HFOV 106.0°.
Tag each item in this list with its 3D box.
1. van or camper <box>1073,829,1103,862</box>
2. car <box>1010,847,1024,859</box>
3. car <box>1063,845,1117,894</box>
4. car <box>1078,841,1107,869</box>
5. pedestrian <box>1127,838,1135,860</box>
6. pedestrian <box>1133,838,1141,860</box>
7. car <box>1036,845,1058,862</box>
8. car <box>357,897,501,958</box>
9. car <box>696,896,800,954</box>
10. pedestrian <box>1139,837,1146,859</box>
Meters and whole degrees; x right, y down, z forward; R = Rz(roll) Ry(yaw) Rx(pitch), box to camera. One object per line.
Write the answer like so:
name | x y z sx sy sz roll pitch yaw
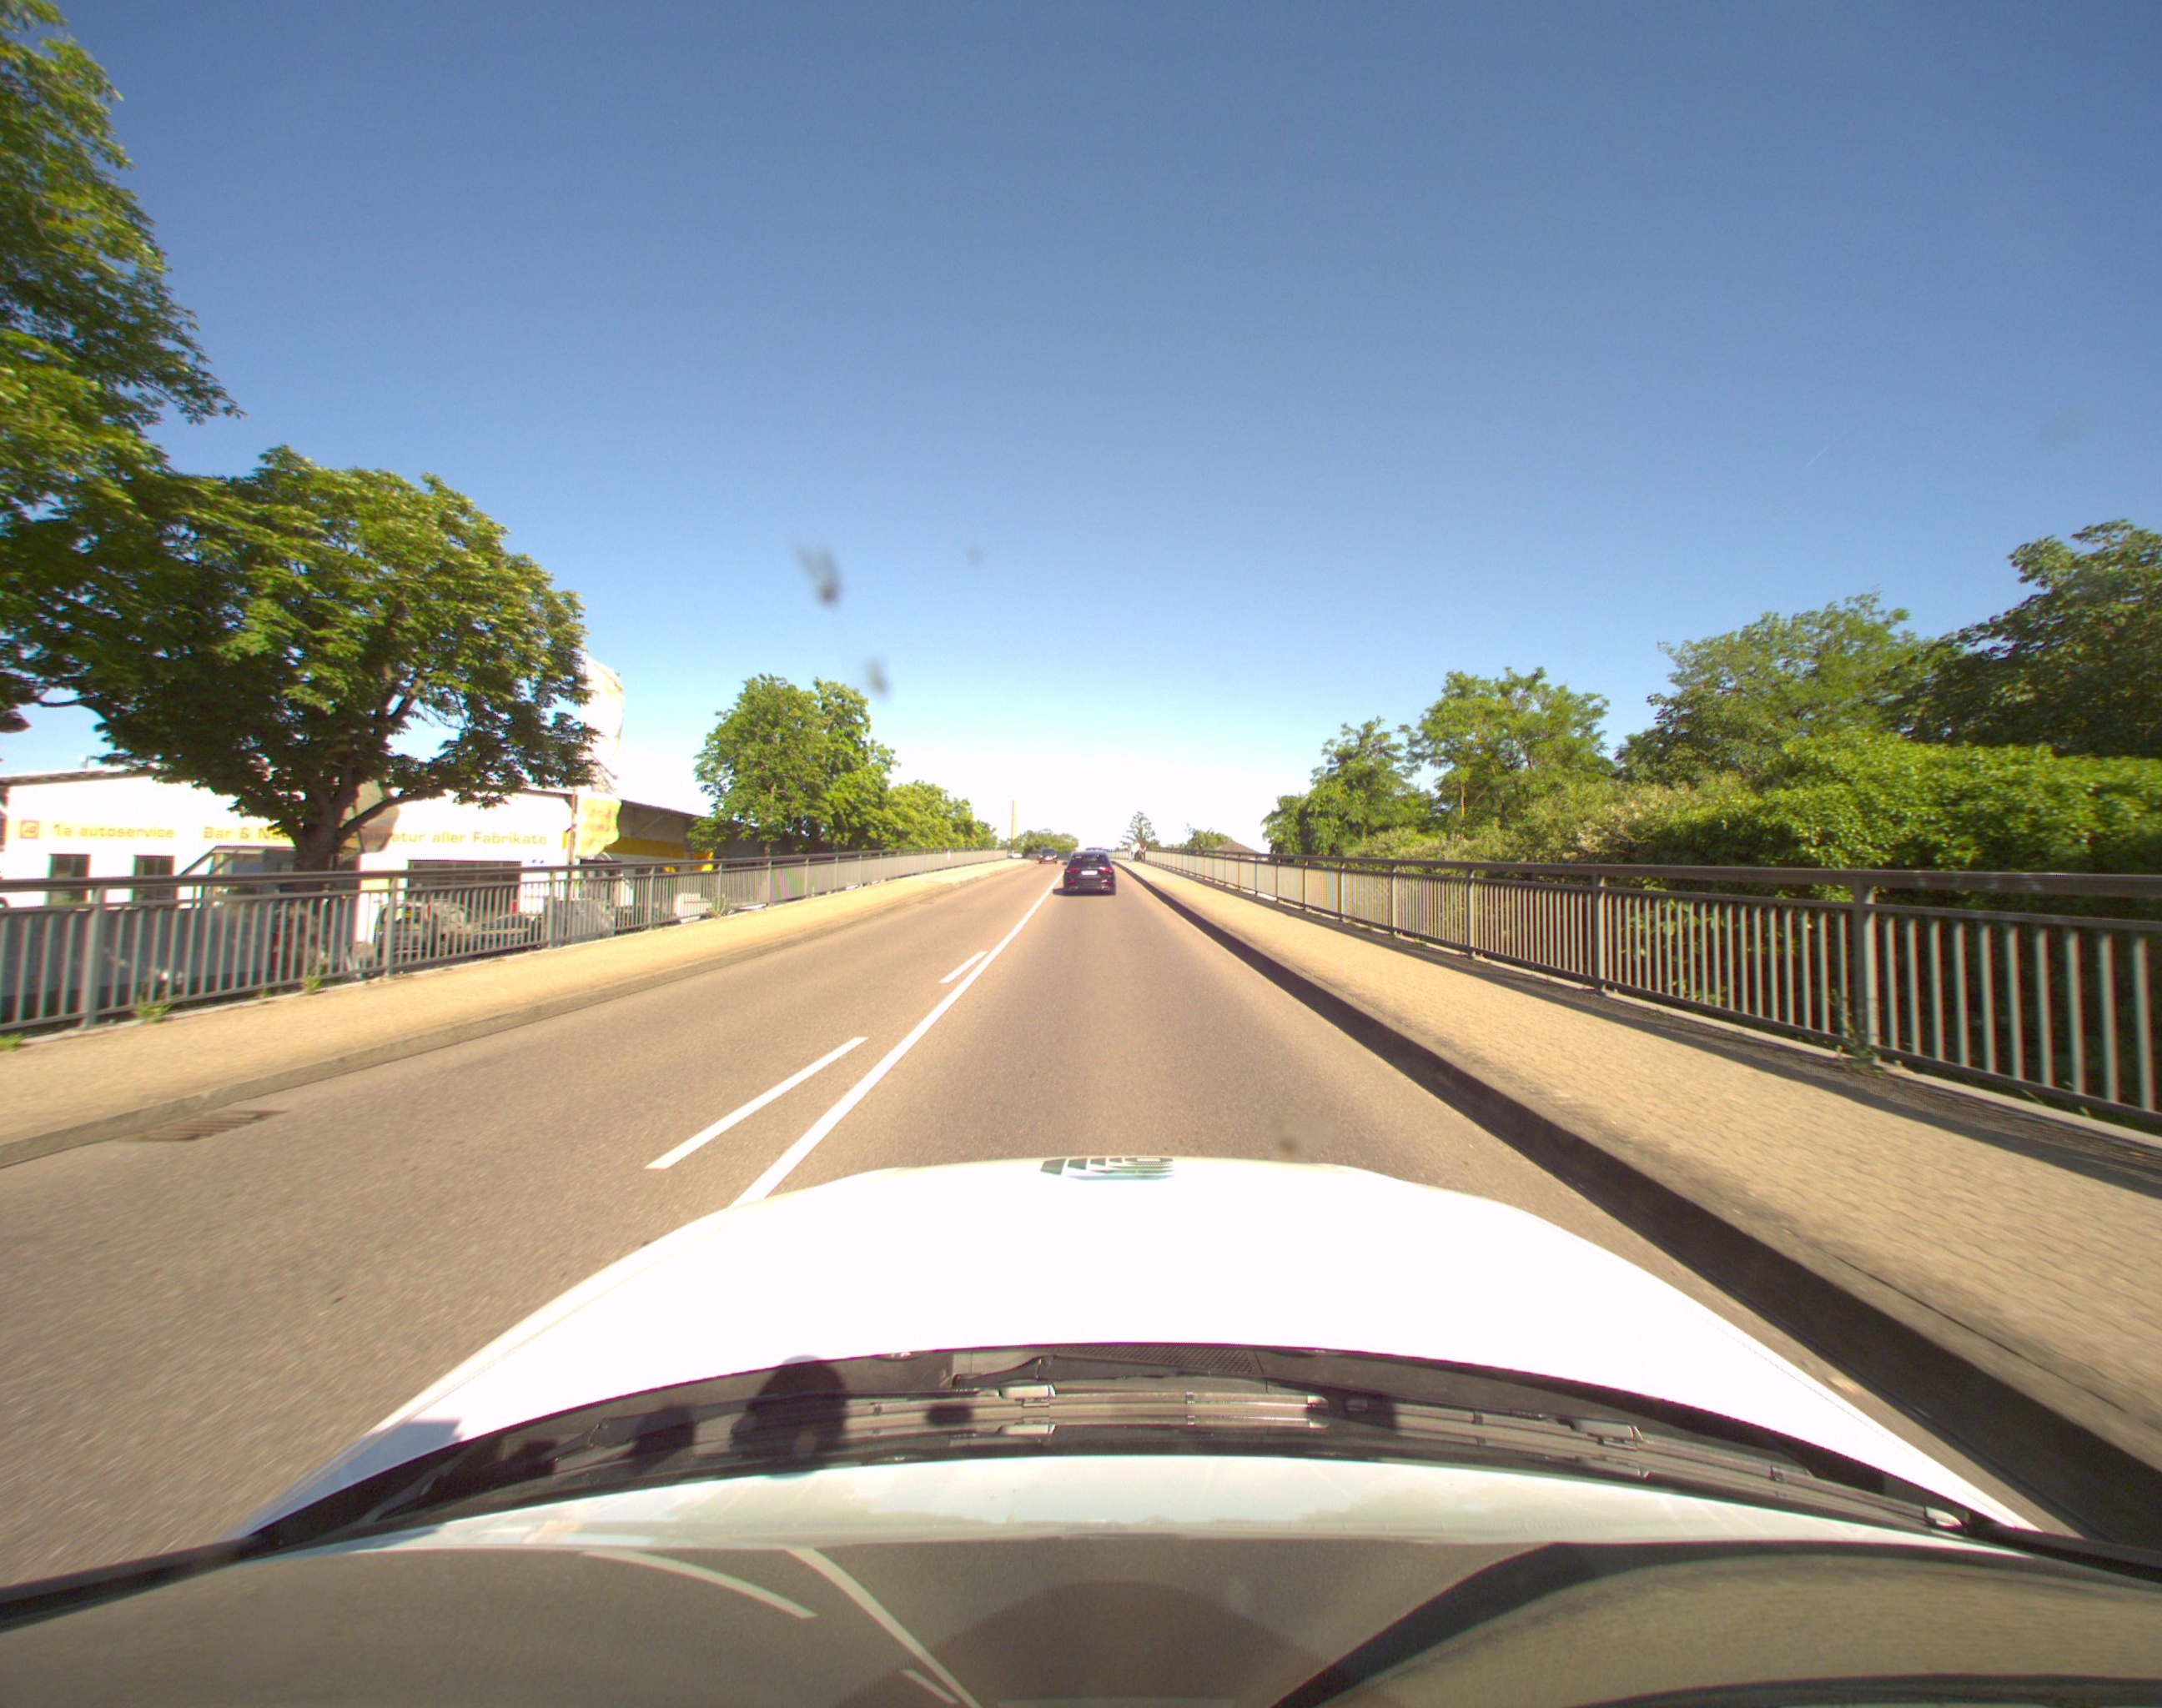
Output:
van or camper | 0.559 -0.718 74.472 2.221 2.739 7.069 1 -2 -4
car | -10.429 -0.130 132.887 1.988 1.680 3.995 0 -3 -2
car | 0.256 0.495 28.766 1.765 1.592 3.987 1 1 -1
car | 0.833 0.111 54.421 1.797 1.640 4.001 1 -3 2
pedestrian | 4.040 -0.403 66.173 0.600 1.750 0.717 1 -2 0
pedestrian | 4.603 -0.402 66.987 0.547 1.750 0.738 1 -2 0
car | -3.109 -0.021 75.275 1.764 1.474 3.989 -1 0 0
car | -22.275 2.447 28.046 1.991 1.852 3.990 0 -2 -7
car | -12.926 2.705 31.909 1.914 1.991 4.263 1 -2 5
pedestrian | 5.013 -0.497 66.185 0.470 1.750 0.654 1 -2 0
